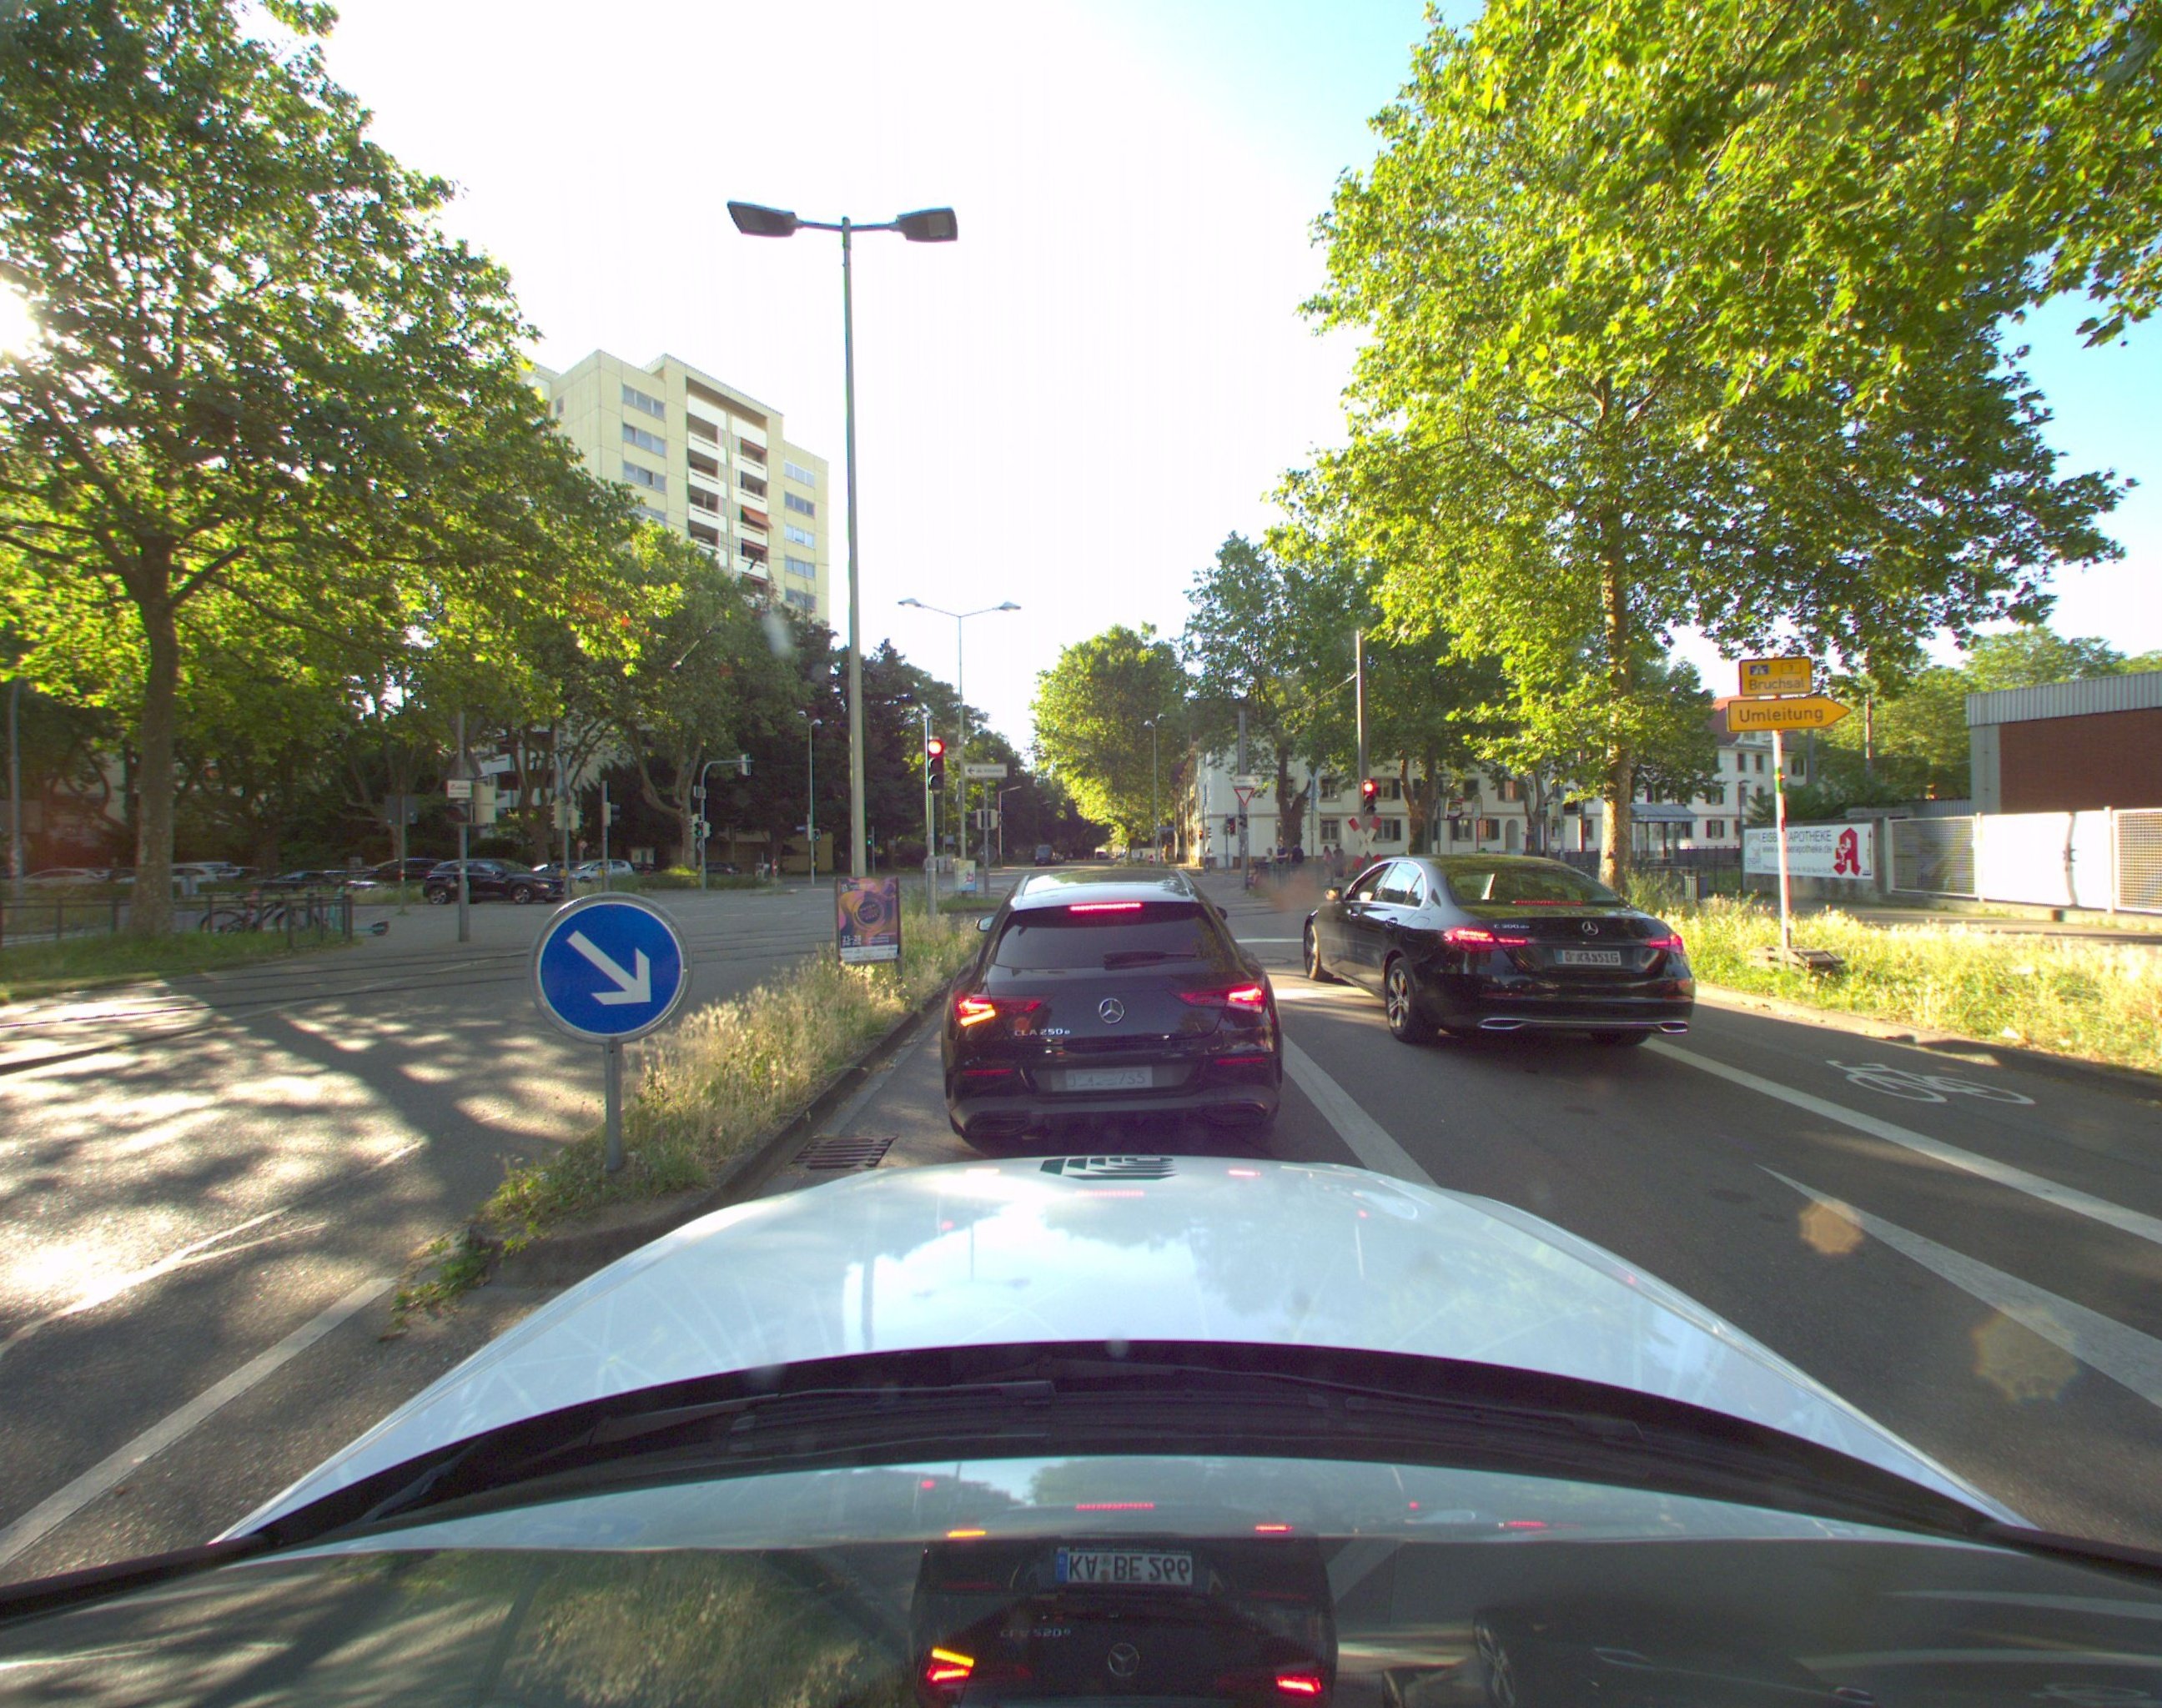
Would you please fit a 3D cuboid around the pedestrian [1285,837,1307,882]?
[{"bbox_3d":[9.289,0.255,35.234,0.703,1.918,0.838,0,-1,-2],"label":"pedestrian"}]

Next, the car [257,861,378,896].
[{"bbox_3d":[-37.415,1.147,39.995,1.716,1.596,4.025,-1,-1,32],"label":"car"}]

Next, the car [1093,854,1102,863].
[{"bbox_3d":[3.243,0.900,158.621,1.727,1.765,4.020,0,-1,2],"label":"car"}]

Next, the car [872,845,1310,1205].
[{"bbox_3d":[0.152,0.718,5.516,1.881,1.450,4.004,0,2,3],"label":"car"}]

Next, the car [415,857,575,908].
[{"bbox_3d":[-19.511,0.926,27.272,3.981,1.596,1.735,0,-1,-5],"label":"car"}]

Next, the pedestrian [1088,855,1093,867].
[{"bbox_3d":[1.535,1.051,130.198,0.704,1.918,0.837,0,-1,-8],"label":"pedestrian"}]

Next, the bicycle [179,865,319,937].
[{"bbox_3d":[-15.954,0.876,15.667,1.845,1.307,0.380,0,-1,-26],"label":"bicycle"}]

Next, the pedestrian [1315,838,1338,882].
[{"bbox_3d":[10.721,0.260,35.556,0.703,1.918,0.838,0,-1,-2],"label":"pedestrian"}]

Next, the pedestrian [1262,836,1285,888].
[{"bbox_3d":[7.287,0.300,30.856,0.681,1.918,0.707,0,-1,-2],"label":"pedestrian"}]

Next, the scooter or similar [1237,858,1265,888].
[{"bbox_3d":[6.278,0.705,30.157,0.826,1.104,0.808,0,-1,-4],"label":"scooter or similar"}]

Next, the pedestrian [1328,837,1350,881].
[{"bbox_3d":[11.572,0.232,36.537,0.703,1.918,0.838,0,-1,-2],"label":"pedestrian"}]

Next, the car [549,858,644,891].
[{"bbox_3d":[-24.925,1.020,42.025,1.716,1.596,3.831,-1,-1,32],"label":"car"}]

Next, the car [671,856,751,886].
[{"bbox_3d":[-22.640,1.012,49.918,3.963,1.774,2.005,-1,-1,9],"label":"car"}]

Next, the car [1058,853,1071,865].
[{"bbox_3d":[-2.510,0.824,126.350,1.727,1.765,3.972,0,-1,2],"label":"car"}]

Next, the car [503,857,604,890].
[{"bbox_3d":[-27.221,0.976,42.158,1.716,1.596,4.025,-1,-1,32],"label":"car"}]

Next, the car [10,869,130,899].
[{"bbox_3d":[-57.102,1.666,46.071,1.716,1.596,4.025,-1,-1,32],"label":"car"}]

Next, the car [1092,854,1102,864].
[{"bbox_3d":[2.912,0.979,150.539,1.727,1.765,4.020,0,-1,2],"label":"car"}]

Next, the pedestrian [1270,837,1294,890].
[{"bbox_3d":[7.411,0.345,30.080,0.680,1.918,0.707,0,-1,0],"label":"pedestrian"}]

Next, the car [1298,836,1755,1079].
[{"bbox_3d":[3.401,0.610,7.362,1.882,1.490,4.385,0,2,2],"label":"car"}]

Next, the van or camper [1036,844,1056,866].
[{"bbox_3d":[-4.283,0.128,100.045,1.986,2.541,4.653,0,-1,2],"label":"van or camper"}]

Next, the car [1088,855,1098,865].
[{"bbox_3d":[2.099,1.006,145.679,1.727,1.765,4.020,0,-1,2],"label":"car"}]

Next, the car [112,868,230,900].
[{"bbox_3d":[-49.162,1.589,44.068,1.716,1.596,4.025,-1,-1,32],"label":"car"}]

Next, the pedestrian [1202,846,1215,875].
[{"bbox_3d":[8.457,0.408,53.923,0.703,1.918,0.838,0,-1,-2],"label":"pedestrian"}]

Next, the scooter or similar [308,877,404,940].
[{"bbox_3d":[-15.094,1.109,16.979,0.408,1.239,1.450,-1,-1,40],"label":"scooter or similar"}]
